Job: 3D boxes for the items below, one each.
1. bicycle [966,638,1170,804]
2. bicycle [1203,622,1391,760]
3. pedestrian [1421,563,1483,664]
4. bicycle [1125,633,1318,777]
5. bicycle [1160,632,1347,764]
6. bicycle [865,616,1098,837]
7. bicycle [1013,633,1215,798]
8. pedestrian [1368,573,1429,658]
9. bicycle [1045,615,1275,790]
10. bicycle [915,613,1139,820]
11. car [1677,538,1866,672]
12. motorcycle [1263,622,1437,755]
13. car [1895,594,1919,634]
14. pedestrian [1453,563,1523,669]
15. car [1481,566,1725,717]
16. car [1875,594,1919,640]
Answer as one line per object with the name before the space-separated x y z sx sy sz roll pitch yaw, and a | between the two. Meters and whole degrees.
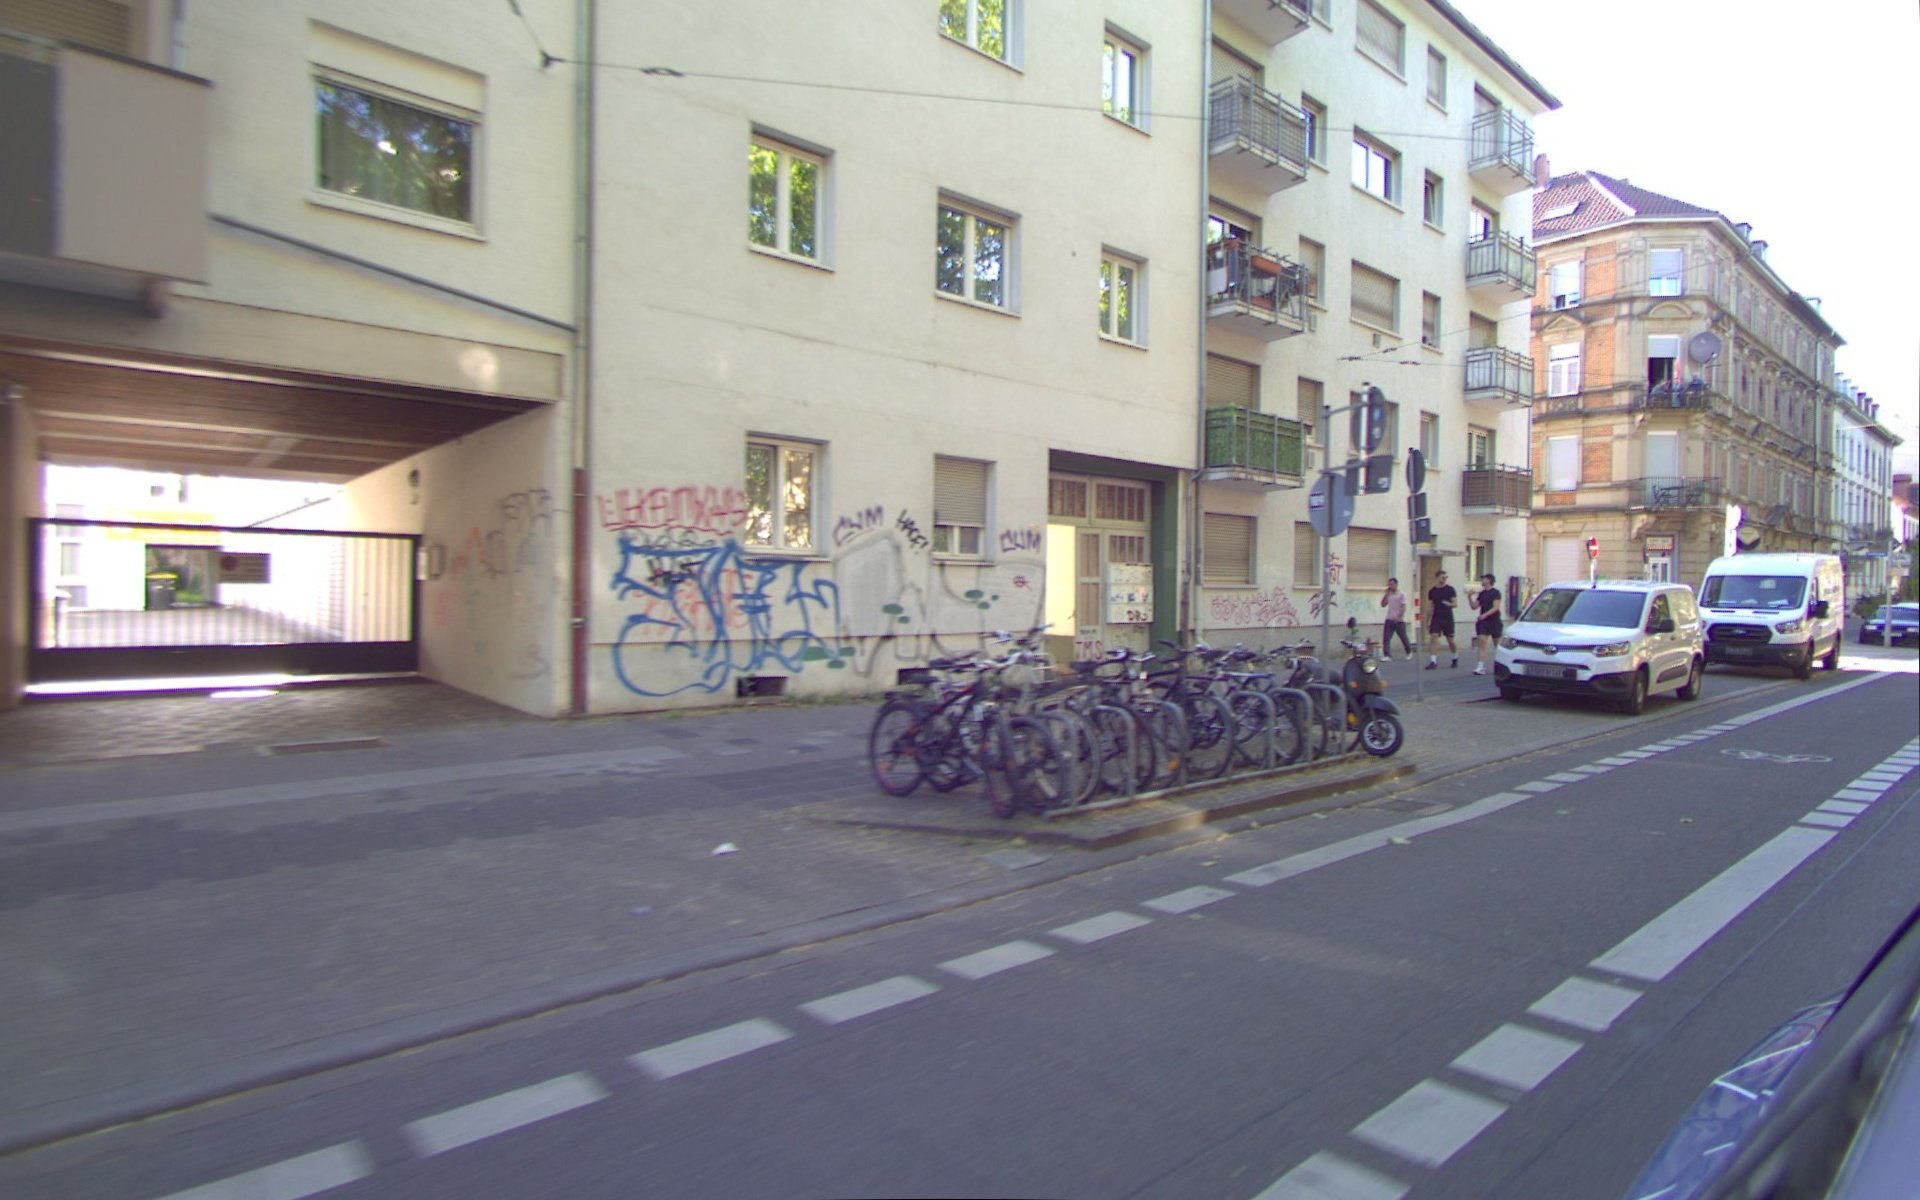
bicycle | 0.763 0.851 7.640 0.449 0.978 1.657 0 3 -40
bicycle | 3.133 0.807 9.551 0.449 1.068 1.657 0 3 -40
pedestrian | 9.307 0.241 19.149 1.062 1.845 0.626 -1 3 -39
bicycle | 2.236 0.863 8.843 0.449 0.999 1.657 0 3 -40
bicycle | 2.645 0.850 9.277 0.449 0.999 1.656 0 2 -40
bicycle | 0.081 0.786 7.030 0.449 1.206 1.896 0 3 -40
bicycle | 1.160 0.846 7.958 0.449 1.033 1.657 0 3 -40
pedestrian | 8.771 0.298 20.229 0.916 1.598 0.634 -1 7 -39
bicycle | 1.595 0.767 8.342 0.692 1.162 1.798 0 3 -40
bicycle | 0.424 0.763 7.356 0.449 1.206 1.827 0 3 -40
car | 17.555 0.043 21.763 5.982 2.526 2.153 -1 1 -41
motorcycle | 3.825 0.824 10.106 0.604 1.093 1.829 0 2 -17
car | 37.105 0.527 38.604 3.943 1.438 1.606 -1 3 -41
pedestrian | 9.510 0.259 18.215 1.062 1.845 0.711 -1 3 -39
car | 9.681 0.462 15.104 4.276 1.841 1.863 -2 5 -41
car | 33.199 0.579 35.189 3.991 1.438 1.652 -1 4 -42
